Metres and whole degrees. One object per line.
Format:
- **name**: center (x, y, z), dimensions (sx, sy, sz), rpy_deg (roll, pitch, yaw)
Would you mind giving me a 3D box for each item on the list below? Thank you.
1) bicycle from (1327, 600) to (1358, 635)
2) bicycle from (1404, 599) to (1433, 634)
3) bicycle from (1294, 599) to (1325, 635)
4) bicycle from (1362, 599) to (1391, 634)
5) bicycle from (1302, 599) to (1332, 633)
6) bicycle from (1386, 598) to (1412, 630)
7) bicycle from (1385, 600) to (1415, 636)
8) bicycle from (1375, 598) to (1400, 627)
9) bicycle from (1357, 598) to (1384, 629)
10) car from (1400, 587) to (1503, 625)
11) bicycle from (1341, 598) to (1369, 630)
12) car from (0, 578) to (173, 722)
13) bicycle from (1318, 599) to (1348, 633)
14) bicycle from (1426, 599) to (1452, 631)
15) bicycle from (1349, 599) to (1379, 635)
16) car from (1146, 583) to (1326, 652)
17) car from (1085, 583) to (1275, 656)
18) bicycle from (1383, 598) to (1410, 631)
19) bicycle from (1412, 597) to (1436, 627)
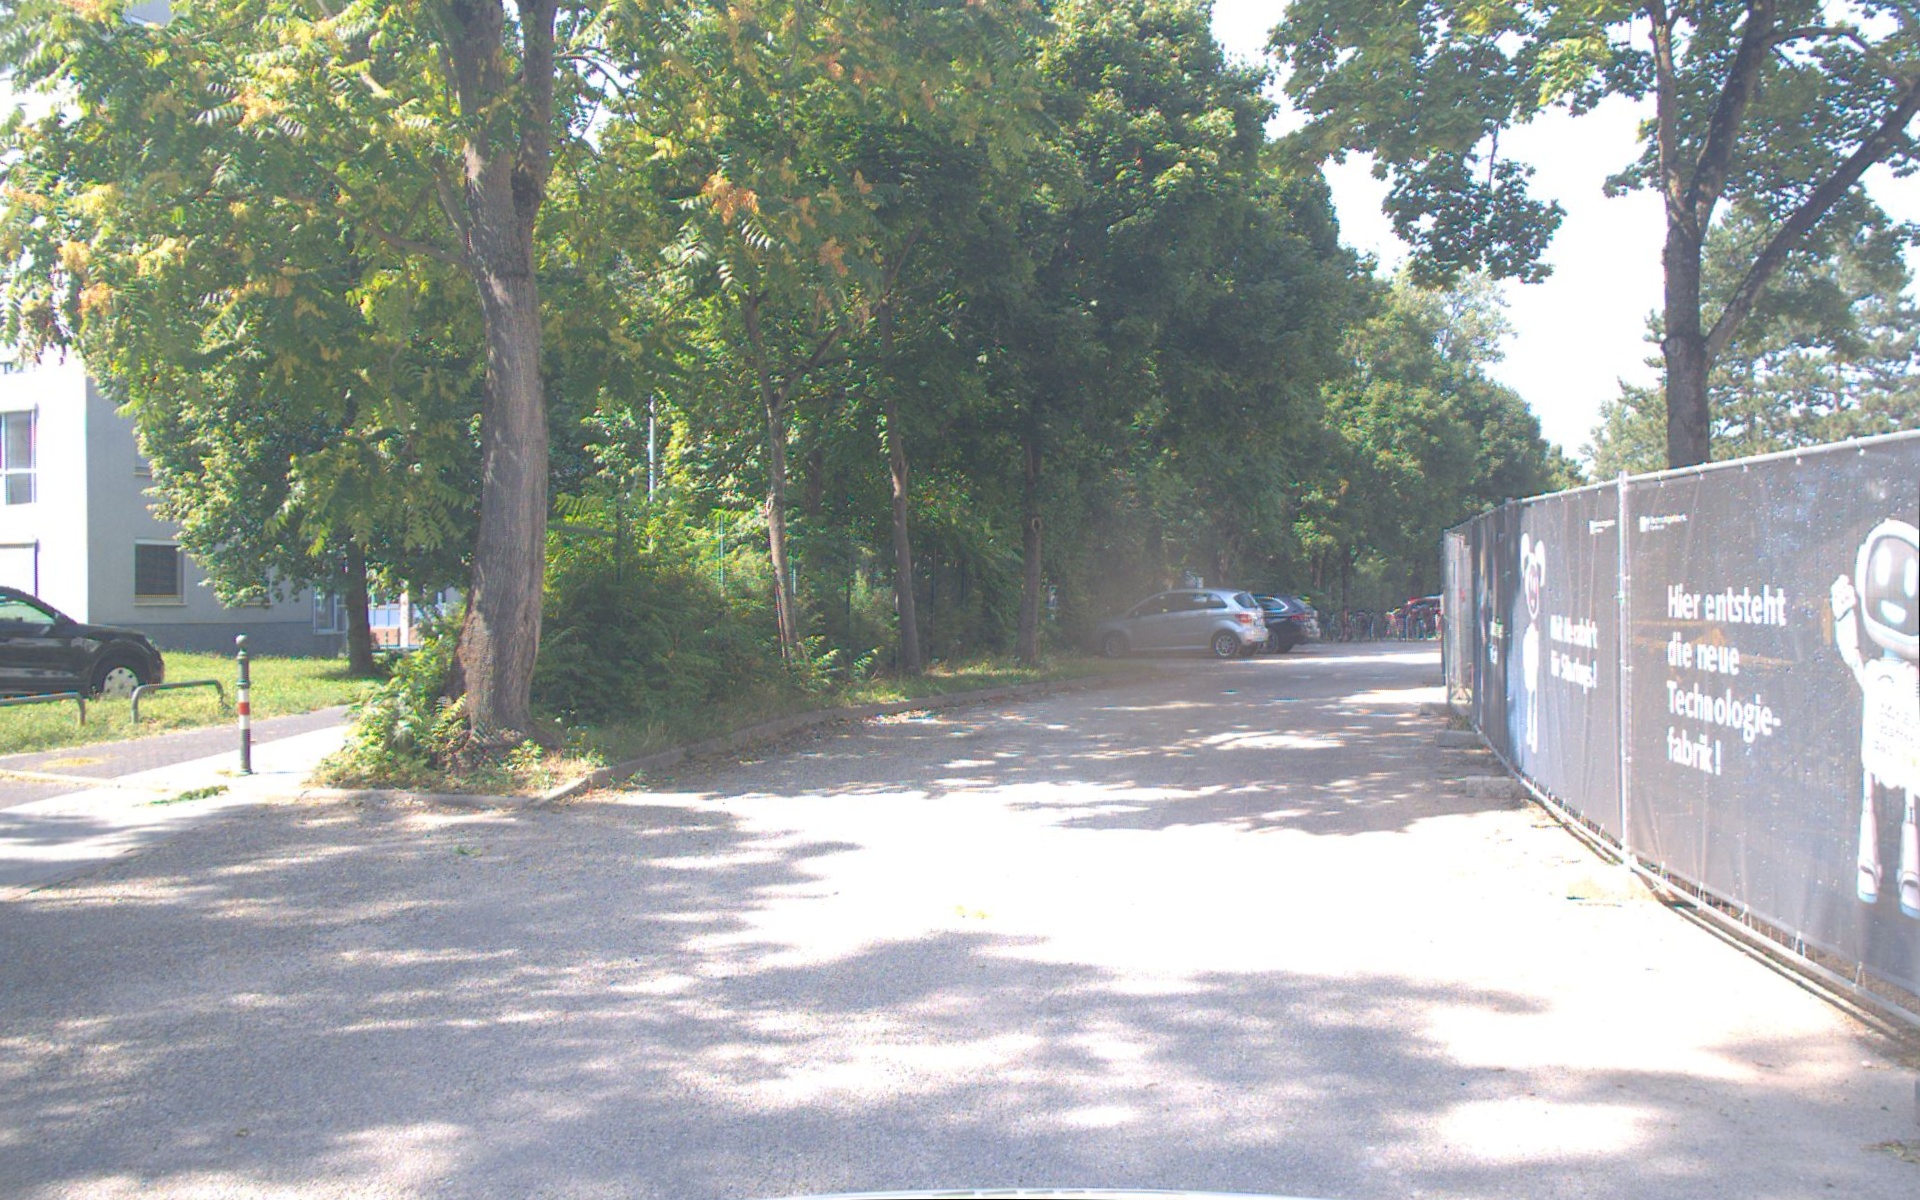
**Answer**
- **bicycle**: center (12.491, 0.557, 53.992), dimensions (0.489, 1.127, 1.797), rpy_deg (0, 0, 29)
- **bicycle**: center (15.162, 0.549, 54.649), dimensions (0.489, 1.127, 1.797), rpy_deg (0, 0, 29)
- **bicycle**: center (11.461, 0.545, 54.210), dimensions (0.489, 1.127, 1.797), rpy_deg (0, 0, 29)
- **bicycle**: center (14.039, 0.544, 55.777), dimensions (0.489, 1.127, 1.797), rpy_deg (0, 0, 29)
- **bicycle**: center (12.142, 0.542, 56.231), dimensions (0.489, 1.127, 1.797), rpy_deg (0, 0, 29)
- **bicycle**: center (16.056, 0.507, 60.444), dimensions (0.489, 1.127, 1.797), rpy_deg (0, 0, 29)
- **bicycle**: center (13.919, 0.564, 52.301), dimensions (0.489, 1.127, 1.797), rpy_deg (0, 0, 29)
- **bicycle**: center (16.449, 0.472, 63.597), dimensions (0.489, 1.127, 1.797), rpy_deg (0, 0, 29)
- **bicycle**: center (15.233, 0.487, 61.327), dimensions (0.489, 1.127, 1.797), rpy_deg (0, 0, 29)
- **car**: center (20.327, 0.227, 68.409), dimensions (3.907, 1.537, 1.799), rpy_deg (0, 0, 24)
- **bicycle**: center (14.209, 0.499, 59.512), dimensions (0.489, 1.127, 1.797), rpy_deg (0, 0, 29)
- **car**: center (-11.065, 0.543, 18.424), dimensions (1.670, 1.554, 3.904), rpy_deg (0, 0, 31)
- **bicycle**: center (12.626, 0.531, 56.014), dimensions (0.489, 1.127, 1.797), rpy_deg (0, 0, 29)
- **bicycle**: center (16.899, 0.519, 58.334), dimensions (0.489, 1.127, 1.797), rpy_deg (0, 0, 29)
- **bicycle**: center (13.035, 0.553, 53.332), dimensions (0.489, 1.127, 1.797), rpy_deg (0, 0, 29)
- **car**: center (6.897, 0.409, 41.345), dimensions (4.066, 1.641, 1.998), rpy_deg (0, 1, 26)
- **car**: center (5.228, 0.426, 39.302), dimensions (4.066, 1.641, 1.998), rpy_deg (0, 1, 26)
- **bicycle**: center (15.421, 0.515, 58.425), dimensions (0.489, 1.127, 1.797), rpy_deg (0, 0, 29)
- **bicycle**: center (17.789, 0.446, 63.395), dimensions (0.489, 1.127, 1.797), rpy_deg (0, 0, 29)
